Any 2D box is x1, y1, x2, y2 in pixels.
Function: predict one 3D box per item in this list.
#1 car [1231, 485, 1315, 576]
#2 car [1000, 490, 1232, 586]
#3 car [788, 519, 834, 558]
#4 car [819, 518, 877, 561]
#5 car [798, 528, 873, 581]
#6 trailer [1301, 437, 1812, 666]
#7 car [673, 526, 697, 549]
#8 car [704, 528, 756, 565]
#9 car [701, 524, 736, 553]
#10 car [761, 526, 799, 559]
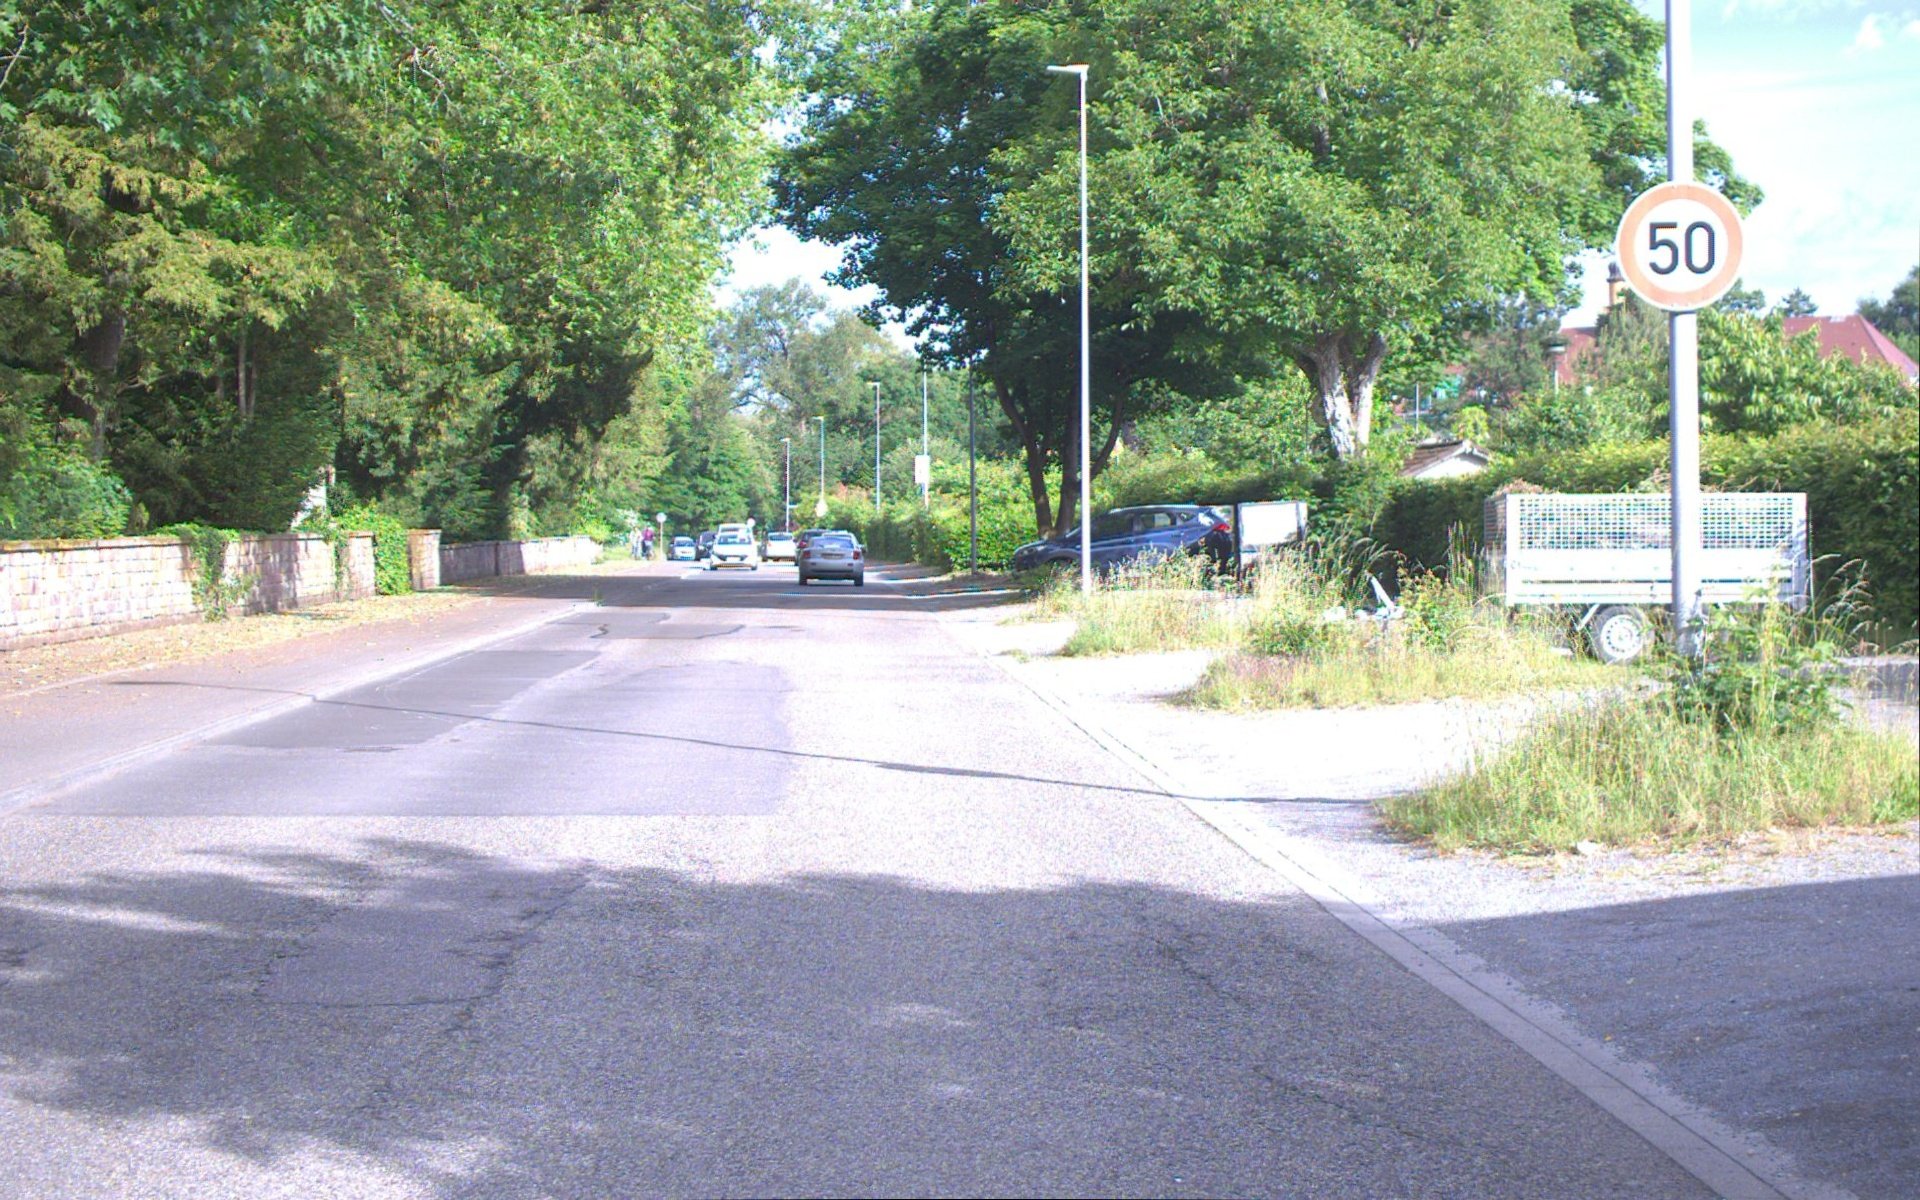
[{"bbox_3d":[6.076,-1.371,66.562,1.351,1.627,4.111,-3,2,8],"label":"car"},{"bbox_3d":[3.085,-1.239,68.500,4.403,1.641,2.000,-3,1,-1],"label":"car"},{"bbox_3d":[-6.386,-2.641,147.173,1.886,1.608,4.055,-1,1,-3],"label":"car"},{"bbox_3d":[-3.938,-2.120,120.178,1.886,1.460,4.055,-1,1,-3],"label":"car"},{"bbox_3d":[-3.339,-1.227,91.586,1.886,1.367,4.055,-1,1,-3],"label":"car"},{"bbox_3d":[5.172,-0.434,30.229,4.152,1.828,1.916,-2,1,2],"label":"trailer"},{"bbox_3d":[-18.768,-4.275,234.928,1.577,1.447,3.399,-1,2,-4],"label":"car"},{"bbox_3d":[-8.779,-2.050,130.801,1.886,1.367,4.055,-1,1,-5],"label":"car"},{"bbox_3d":[-13.297,-3.398,189.568,1.886,1.608,4.055,-1,1,-3],"label":"car"},{"bbox_3d":[-9.060,-2.895,172.759,1.886,1.608,4.055,-1,1,-3],"label":"car"}]
